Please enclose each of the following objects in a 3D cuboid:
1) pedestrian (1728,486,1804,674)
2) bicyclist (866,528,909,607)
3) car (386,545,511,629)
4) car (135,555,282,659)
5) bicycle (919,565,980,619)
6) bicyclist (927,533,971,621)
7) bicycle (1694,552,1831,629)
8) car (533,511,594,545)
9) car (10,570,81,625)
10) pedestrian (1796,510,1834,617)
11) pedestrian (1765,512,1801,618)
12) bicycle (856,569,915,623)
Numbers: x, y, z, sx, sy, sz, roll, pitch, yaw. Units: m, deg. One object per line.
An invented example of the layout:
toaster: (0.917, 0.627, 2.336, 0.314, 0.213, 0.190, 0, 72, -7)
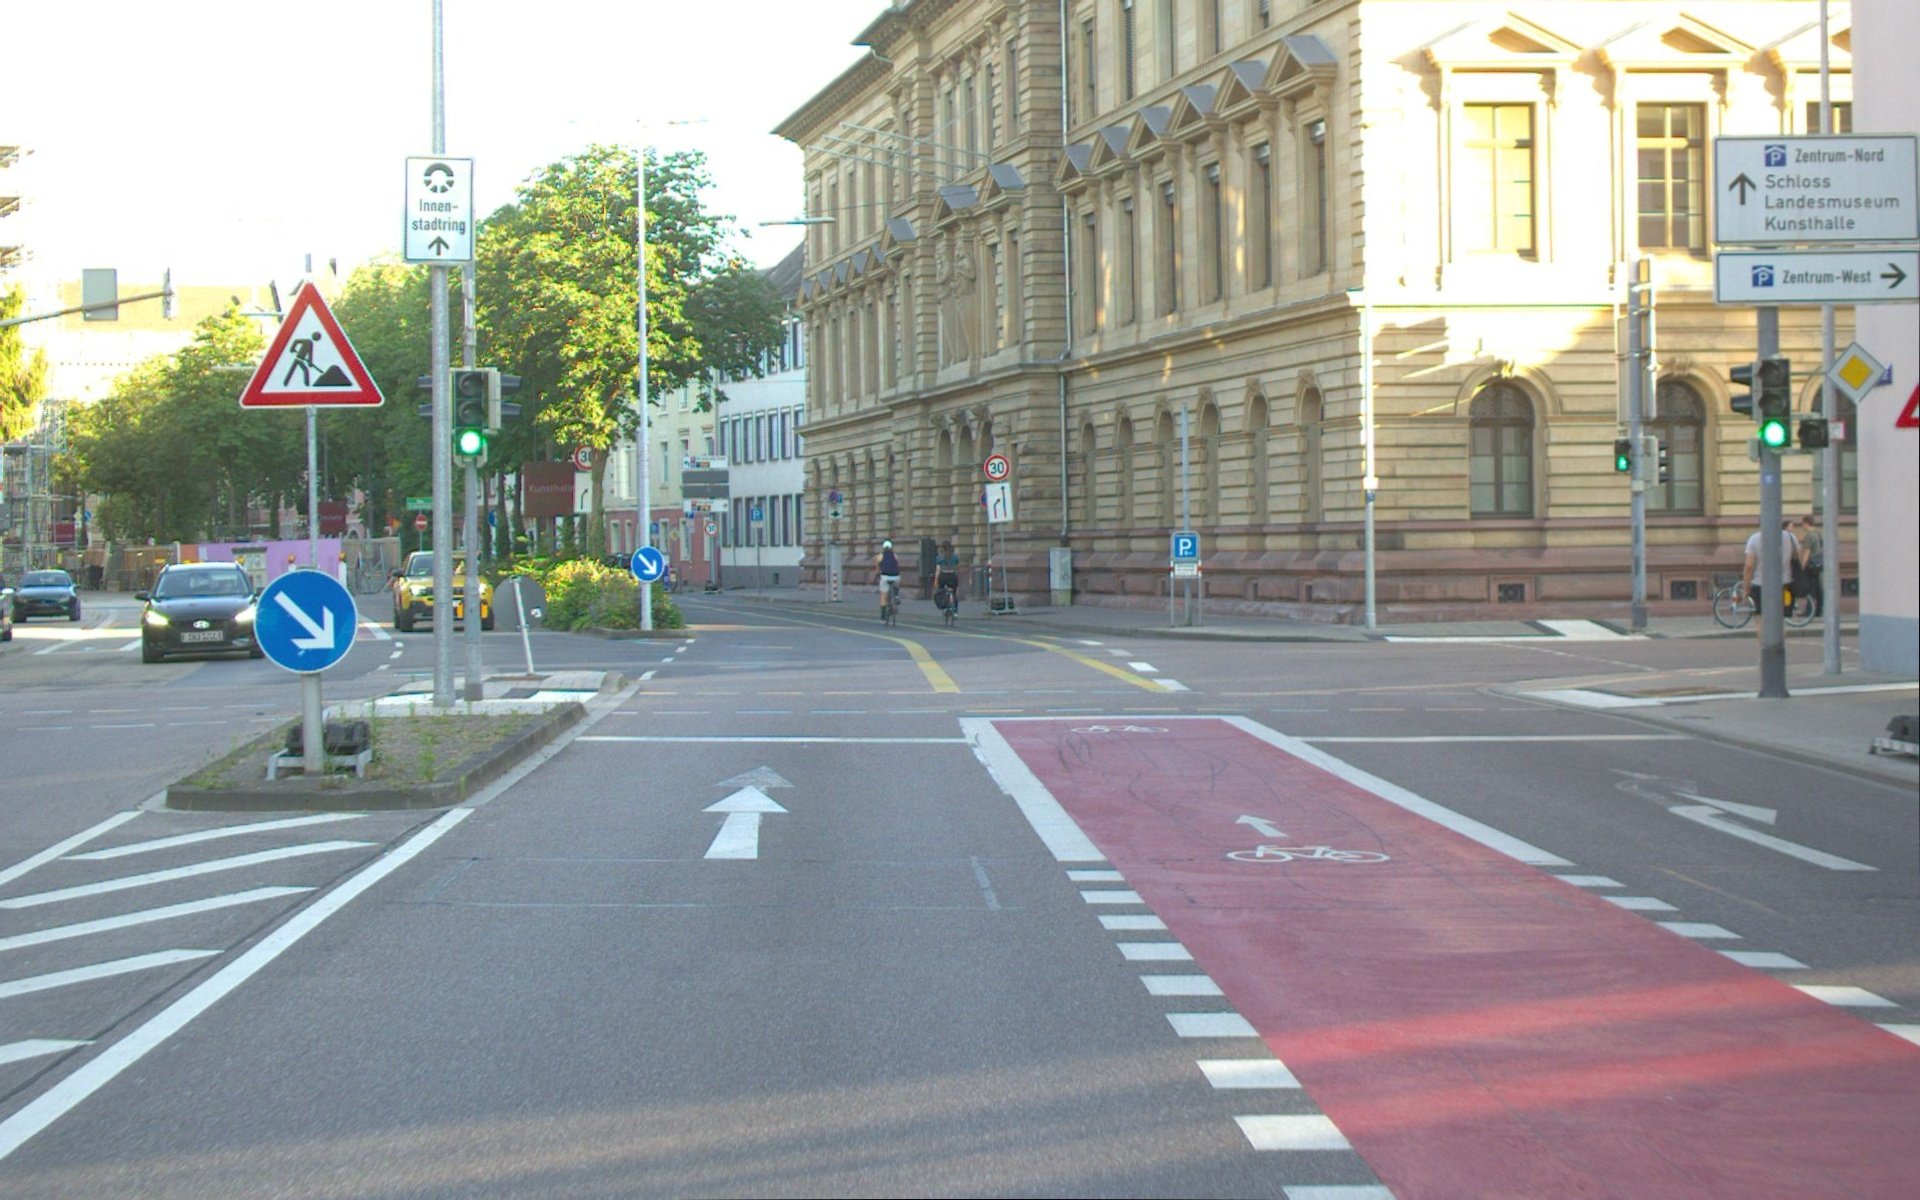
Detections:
pedestrian: (8.708, -0.223, 37.161, 0.785, 2.007, 0.994, 0, 1, 13)
bicyclist: (-1.473, -0.658, 69.498, 0.668, 1.560, 0.699, 1, 0, -18)
car: (-9.921, -0.282, 66.904, 1.845, 1.542, 4.119, -1, 1, -1)
car: (-11.478, 0.110, 52.725, 1.823, 1.503, 4.428, -1, 0, -8)
bicycle: (-0.223, -0.174, 69.711, 0.652, 1.067, 2.259, 1, 0, -15)
bicyclist: (-0.218, -0.471, 69.758, 0.649, 1.754, 0.864, 1, 1, -15)
bicycle: (13.345, -0.159, 57.193, 2.050, 1.203, 0.862, -1, 3, -4)
car: (-18.552, -3.350, 160.818, 1.812, 1.554, 3.866, 0, 1, -23)
car: (-24.161, -0.080, 90.912, 1.679, 1.346, 3.888, -2, 1, -13)
pedestrian: (14.892, -0.632, 59.844, 0.535, 1.851, 0.621, 0, 1, 23)
pedestrian: (14.417, -0.617, 60.213, 0.448, 1.851, 0.427, -1, 1, -43)
bicycle: (-1.513, -0.090, 69.593, 0.669, 1.067, 1.902, 1, 0, -18)
